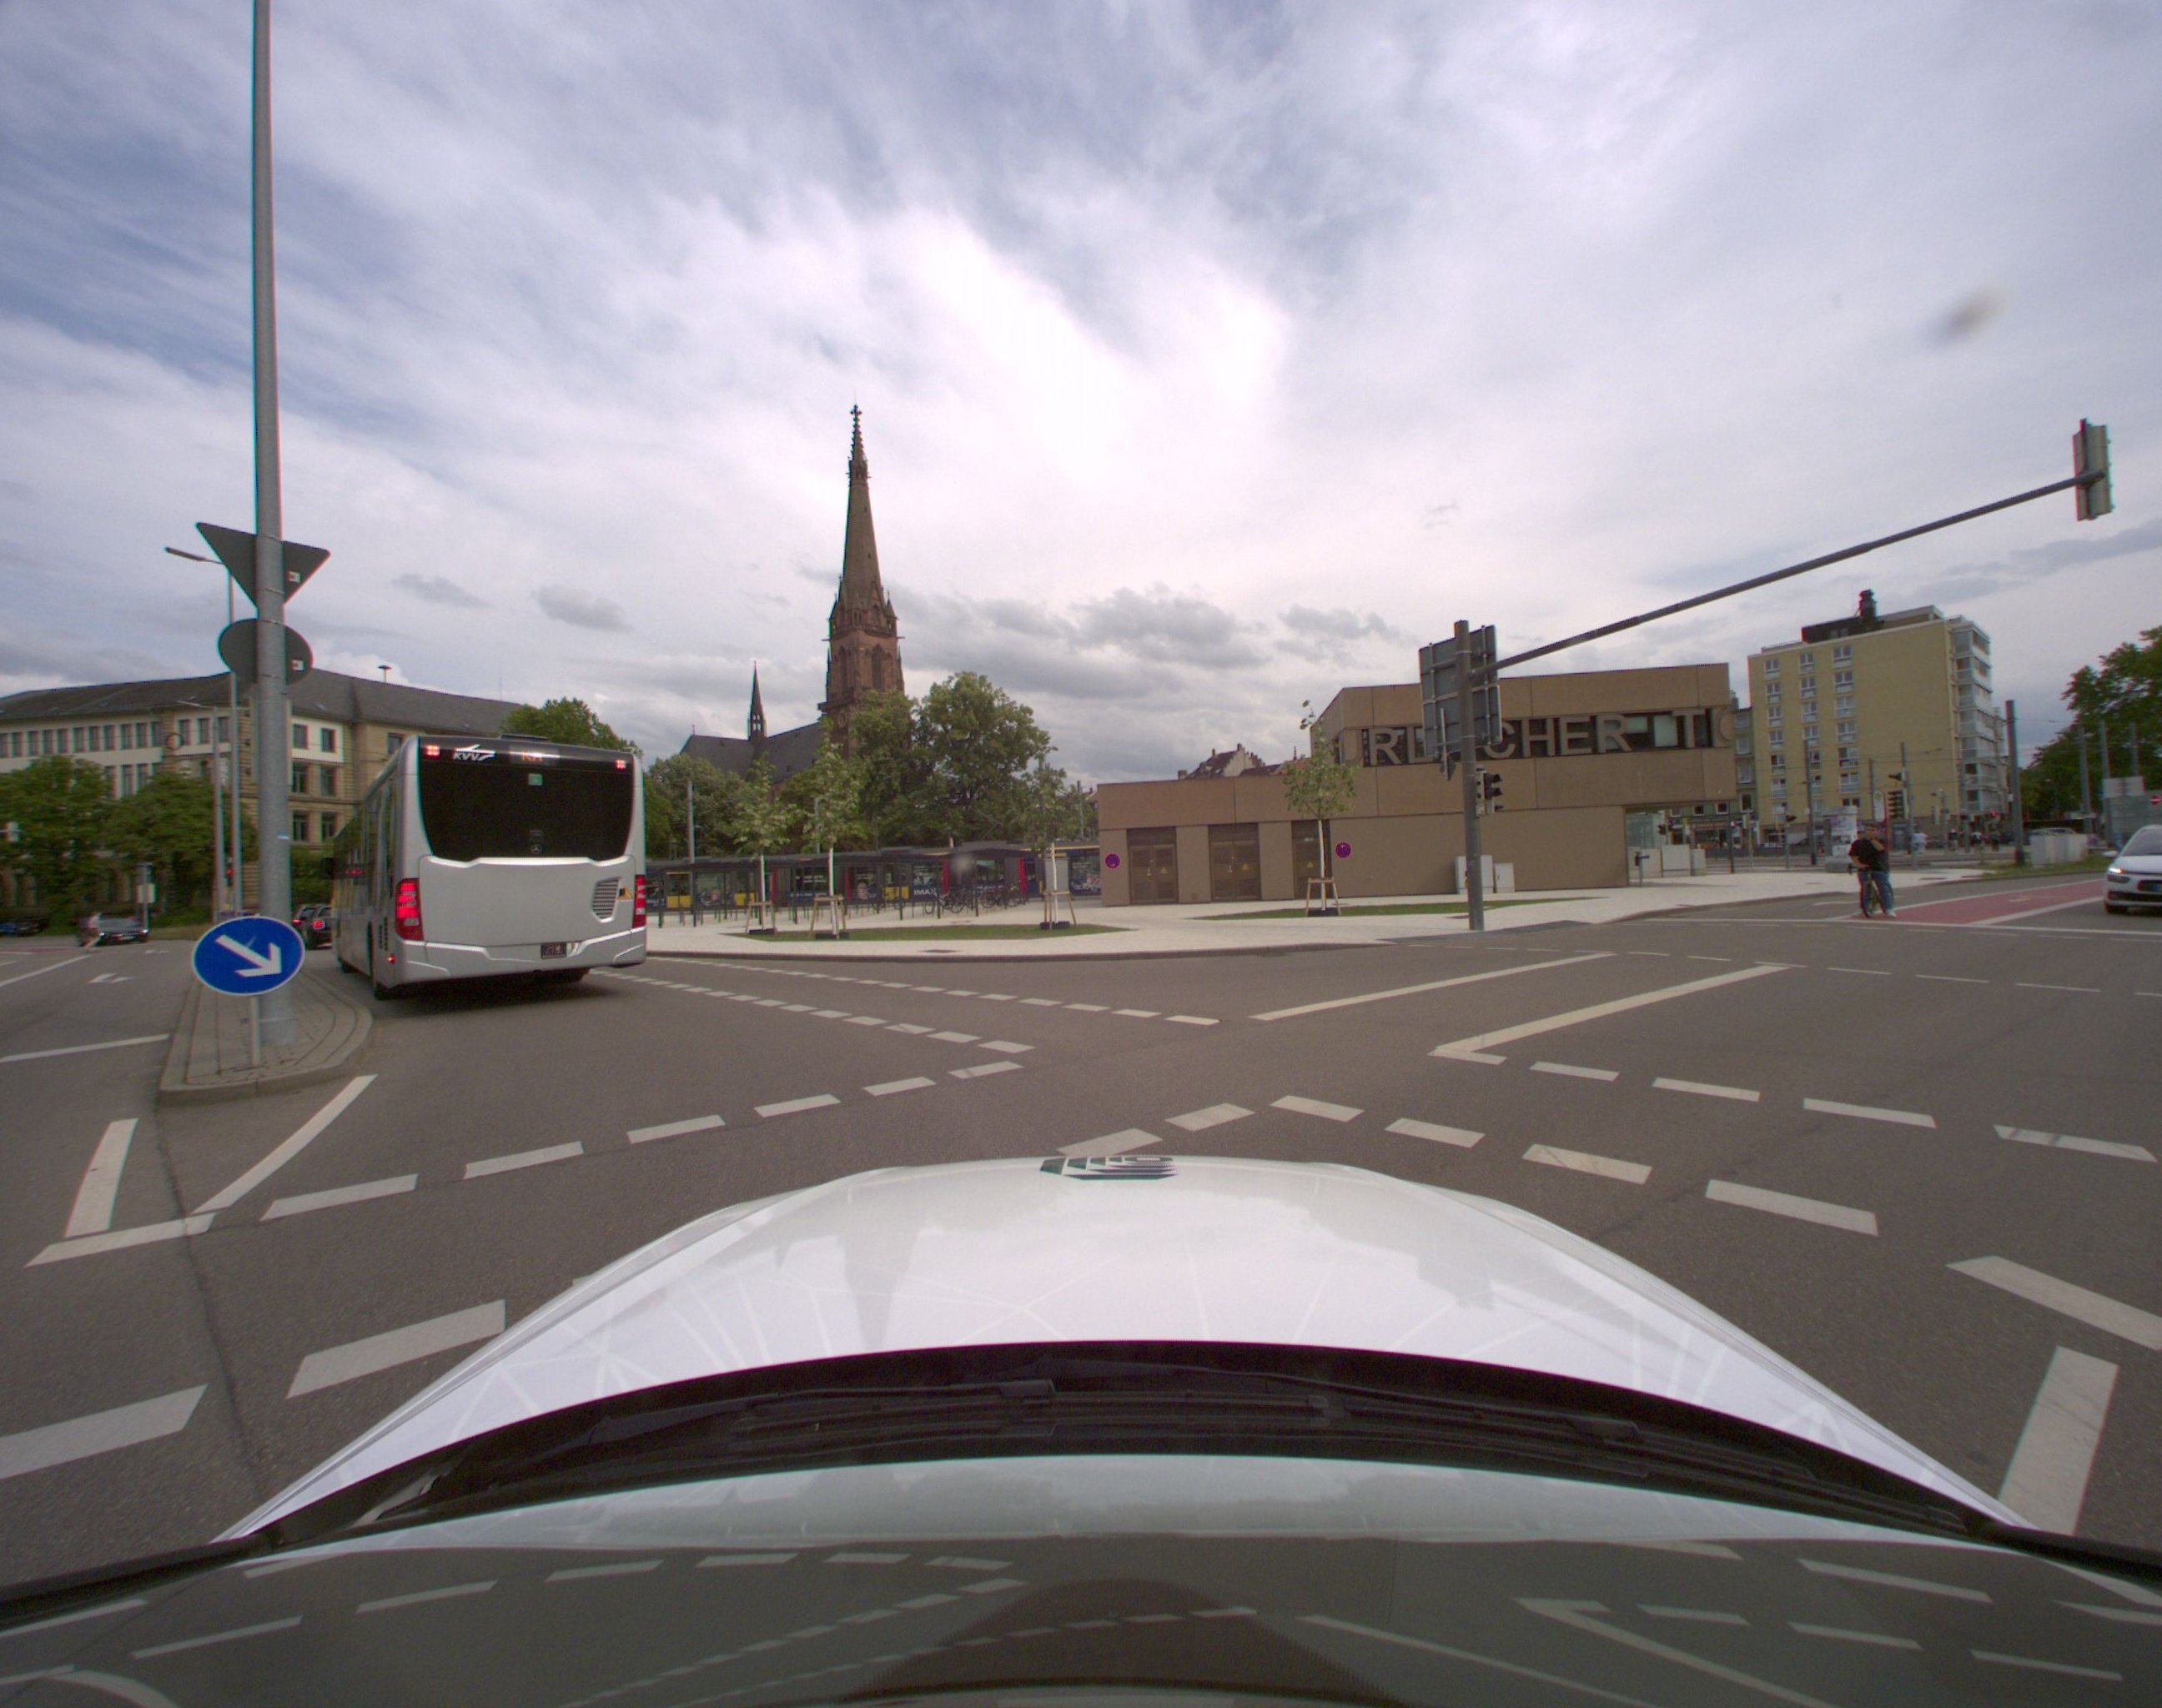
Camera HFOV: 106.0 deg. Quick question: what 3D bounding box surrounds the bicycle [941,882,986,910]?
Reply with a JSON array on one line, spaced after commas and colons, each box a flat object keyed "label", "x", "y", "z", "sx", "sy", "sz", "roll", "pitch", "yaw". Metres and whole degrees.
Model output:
[{"label": "bicycle", "x": -5.297, "y": 1.893, "z": 36.805, "sx": 1.954, "sy": 1.156, "sz": 0.584, "roll": -1, "pitch": 0, "yaw": -1}]

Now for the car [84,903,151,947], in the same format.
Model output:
[{"label": "car", "x": -51.458, "y": 3.731, "z": 43.472, "sx": 3.948, "sy": 2.013, "sz": 2.013, "roll": -1, "pitch": 0, "yaw": 36}]

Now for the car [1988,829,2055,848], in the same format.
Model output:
[{"label": "car", "x": 90.109, "y": -1.482, "z": 78.083, "sx": 1.611, "sy": 1.684, "sz": 3.960, "roll": -1, "pitch": 0, "yaw": -31}]

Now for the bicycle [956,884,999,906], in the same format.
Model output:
[{"label": "bicycle", "x": -4.951, "y": 1.972, "z": 39.142, "sx": 1.950, "sy": 0.970, "sz": 0.585, "roll": -1, "pitch": 0, "yaw": 5}]

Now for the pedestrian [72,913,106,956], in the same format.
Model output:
[{"label": "pedestrian", "x": -42.664, "y": 3.442, "z": 35.039, "sx": 0.804, "sy": 1.711, "sz": 0.829, "roll": -1, "pitch": 0, "yaw": -42}]

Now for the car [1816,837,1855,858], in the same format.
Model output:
[{"label": "car", "x": 74.067, "y": -0.670, "z": 79.945, "sx": 4.017, "sy": 2.013, "sz": 1.978, "roll": -1, "pitch": 0, "yaw": -35}]

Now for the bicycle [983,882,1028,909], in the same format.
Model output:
[{"label": "bicycle", "x": -3.379, "y": 1.862, "z": 36.463, "sx": 1.954, "sy": 1.156, "sz": 0.584, "roll": -1, "pitch": 0, "yaw": -1}]

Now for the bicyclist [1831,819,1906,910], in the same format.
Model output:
[{"label": "bicyclist", "x": 14.979, "y": 0.188, "z": 15.496, "sx": 0.885, "sy": 1.669, "sz": 0.860, "roll": -1, "pitch": 0, "yaw": -35}]

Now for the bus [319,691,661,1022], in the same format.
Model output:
[{"label": "bus", "x": -11.299, "y": 0.430, "z": 14.391, "sx": 2.729, "sy": 3.438, "sz": 14.005, "roll": -1, "pitch": -3, "yaw": -45}]

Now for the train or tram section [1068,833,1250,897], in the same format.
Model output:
[{"label": "train or tram section", "x": 4.245, "y": 0.589, "z": 44.007, "sx": 9.418, "sy": 3.246, "sz": 3.069, "roll": -1, "pitch": 0, "yaw": 8}]

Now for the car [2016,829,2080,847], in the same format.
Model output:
[{"label": "car", "x": 97.718, "y": -1.624, "z": 82.314, "sx": 1.611, "sy": 1.684, "sz": 3.960, "roll": -1, "pitch": 0, "yaw": -31}]

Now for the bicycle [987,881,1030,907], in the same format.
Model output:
[{"label": "bicycle", "x": -3.364, "y": 1.857, "z": 37.920, "sx": 1.954, "sy": 1.156, "sz": 0.584, "roll": -1, "pitch": 0, "yaw": -1}]

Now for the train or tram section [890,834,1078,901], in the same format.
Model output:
[{"label": "train or tram section", "x": -5.305, "y": 0.723, "z": 45.260, "sx": 9.842, "sy": 3.450, "sz": 3.069, "roll": -1, "pitch": 0, "yaw": 8}]

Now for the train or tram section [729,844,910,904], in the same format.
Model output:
[{"label": "train or tram section", "x": -14.823, "y": 1.104, "z": 46.533, "sx": 9.346, "sy": 3.213, "sz": 3.069, "roll": -1, "pitch": 0, "yaw": 8}]

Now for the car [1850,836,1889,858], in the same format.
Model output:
[{"label": "car", "x": 75.563, "y": -0.688, "z": 78.059, "sx": 4.017, "sy": 2.013, "sz": 1.978, "roll": -1, "pitch": 0, "yaw": -35}]

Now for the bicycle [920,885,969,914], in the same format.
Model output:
[{"label": "bicycle", "x": -5.698, "y": 1.909, "z": 34.040, "sx": 1.954, "sy": 1.156, "sz": 0.584, "roll": -1, "pitch": 0, "yaw": -1}]

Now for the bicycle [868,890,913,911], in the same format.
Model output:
[{"label": "bicycle", "x": -8.977, "y": 2.191, "z": 38.395, "sx": 1.950, "sy": 0.955, "sz": 0.585, "roll": -1, "pitch": 0, "yaw": 5}]

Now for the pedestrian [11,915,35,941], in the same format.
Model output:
[{"label": "pedestrian", "x": -85.472, "y": 5.945, "z": 65.792, "sx": 0.998, "sy": 2.014, "sz": 0.894, "roll": -3, "pitch": -2, "yaw": 17}]

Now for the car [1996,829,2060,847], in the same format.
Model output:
[{"label": "car", "x": 93.305, "y": -1.543, "z": 80.277, "sx": 1.611, "sy": 1.684, "sz": 3.960, "roll": -1, "pitch": 0, "yaw": -31}]

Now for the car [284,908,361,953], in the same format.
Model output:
[{"label": "car", "x": -30.011, "y": 2.972, "z": 32.195, "sx": 4.221, "sy": 1.361, "sz": 2.012, "roll": -1, "pitch": 0, "yaw": 44}]

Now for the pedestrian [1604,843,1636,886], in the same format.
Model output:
[{"label": "pedestrian", "x": 22.416, "y": 0.426, "z": 33.886, "sx": 0.803, "sy": 1.733, "sz": 0.783, "roll": -4, "pitch": -2, "yaw": 15}]

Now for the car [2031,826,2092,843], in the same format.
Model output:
[{"label": "car", "x": 103.415, "y": -2.055, "z": 85.919, "sx": 1.611, "sy": 1.684, "sz": 3.960, "roll": -1, "pitch": 0, "yaw": -31}]

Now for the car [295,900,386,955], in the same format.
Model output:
[{"label": "car", "x": -24.912, "y": 2.393, "z": 27.362, "sx": 3.950, "sy": 1.486, "sz": 2.012, "roll": -1, "pitch": 0, "yaw": 44}]

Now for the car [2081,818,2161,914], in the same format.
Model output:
[{"label": "car", "x": 20.504, "y": 0.174, "z": 14.997, "sx": 4.303, "sy": 1.651, "sz": 1.981, "roll": -1, "pitch": 0, "yaw": -30}]

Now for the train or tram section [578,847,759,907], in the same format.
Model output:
[{"label": "train or tram section", "x": -24.089, "y": 1.325, "z": 47.766, "sx": 9.287, "sy": 3.277, "sz": 3.069, "roll": -1, "pitch": 0, "yaw": 8}]

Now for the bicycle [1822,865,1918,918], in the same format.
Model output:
[{"label": "bicycle", "x": 15.088, "y": 0.674, "z": 15.550, "sx": 2.529, "sy": 0.876, "sz": 0.856, "roll": -1, "pitch": 0, "yaw": -35}]
